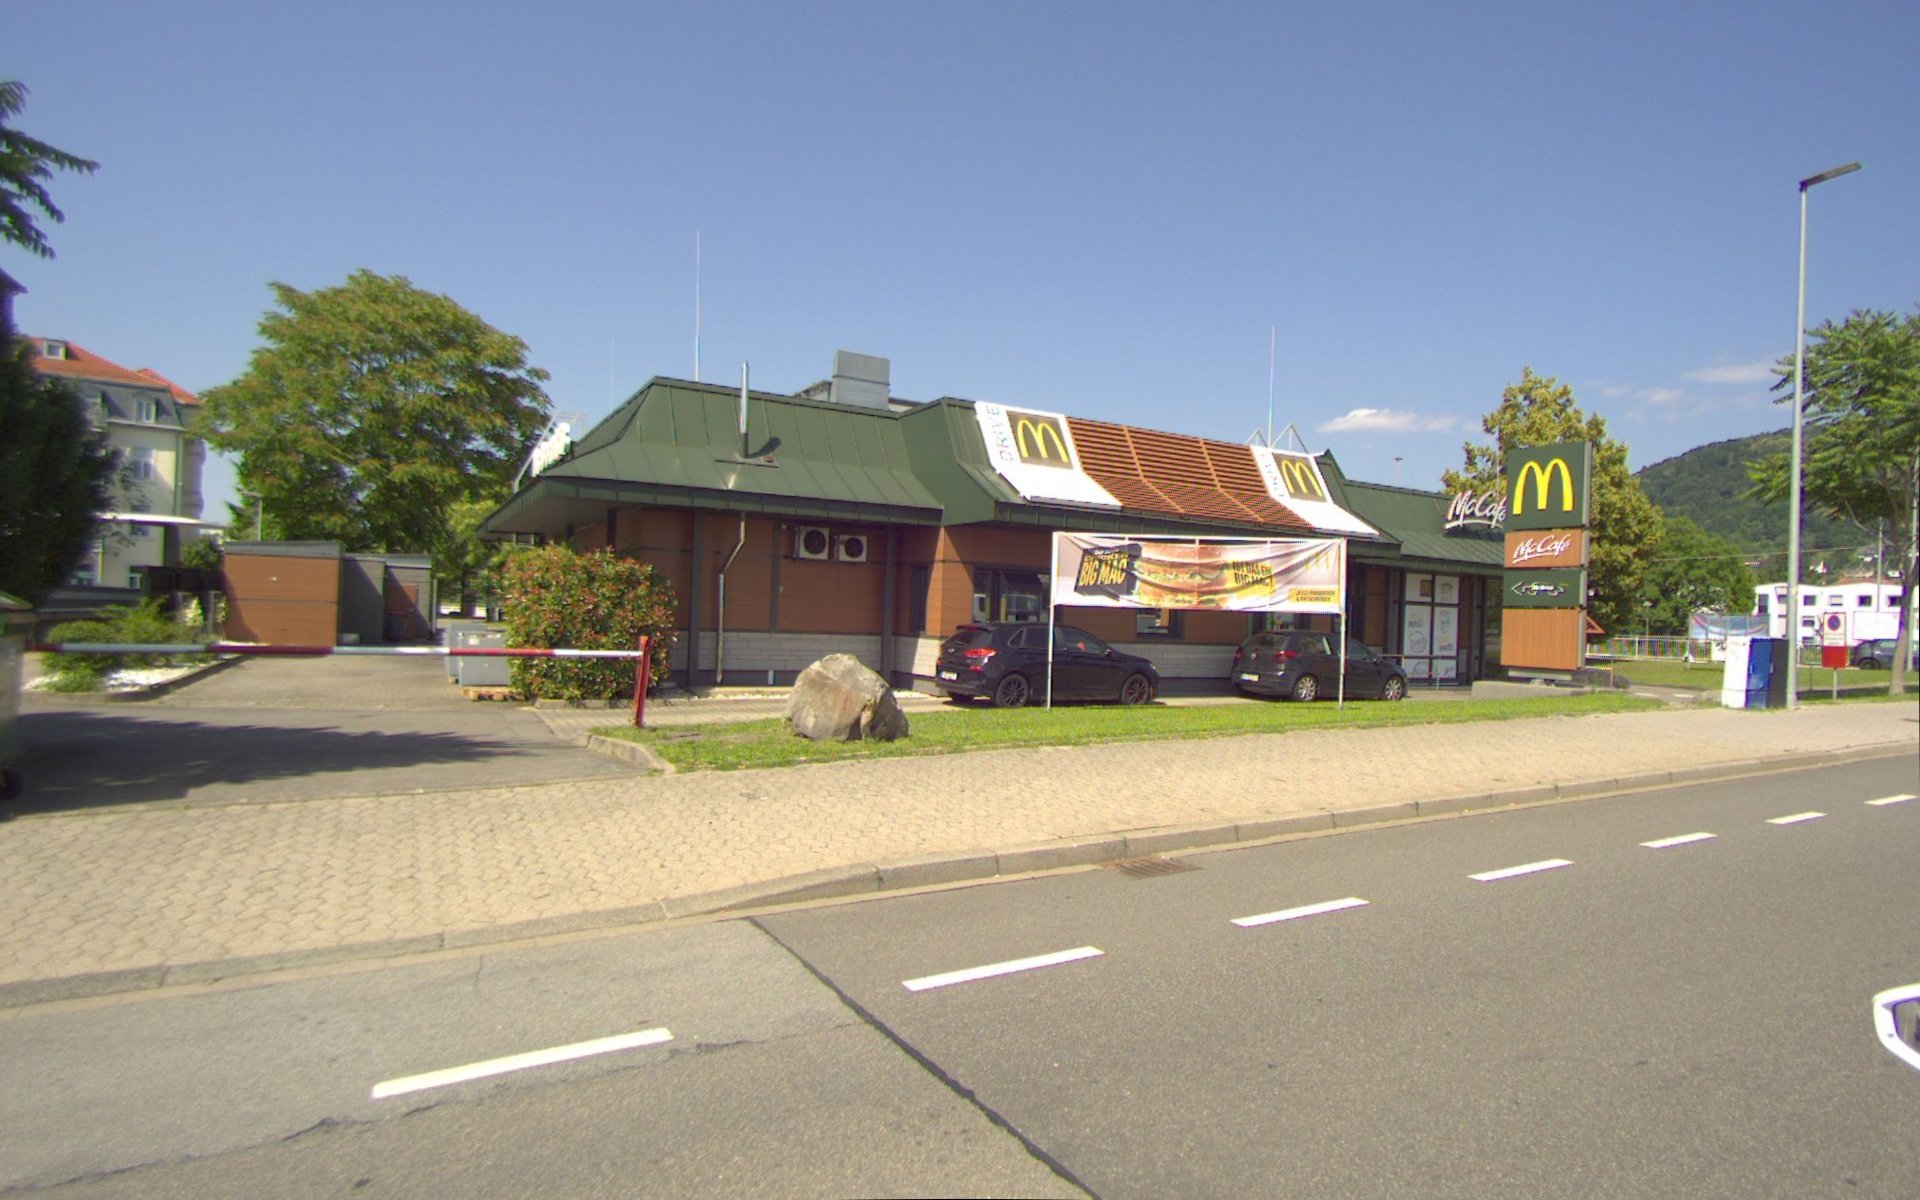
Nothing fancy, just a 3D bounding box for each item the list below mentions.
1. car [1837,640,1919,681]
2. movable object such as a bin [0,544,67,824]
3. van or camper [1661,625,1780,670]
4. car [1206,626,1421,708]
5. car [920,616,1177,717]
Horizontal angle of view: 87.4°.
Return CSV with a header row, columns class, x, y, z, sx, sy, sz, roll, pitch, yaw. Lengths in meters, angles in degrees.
class,x,y,z,sx,sy,sz,roll,pitch,yaw
car,40.939,2.630,43.620,4.267,1.613,1.989,1,-1,43
movable object such as a bin,-6.329,0.476,6.050,1.296,1.611,1.437,1,0,-38
van or camper,33.370,2.043,44.109,3.943,1.595,1.989,4,2,43
car,7.407,1.344,21.024,4.077,1.435,1.985,2,2,-28
car,1.609,1.107,17.743,4.272,1.496,1.817,1,2,-32
